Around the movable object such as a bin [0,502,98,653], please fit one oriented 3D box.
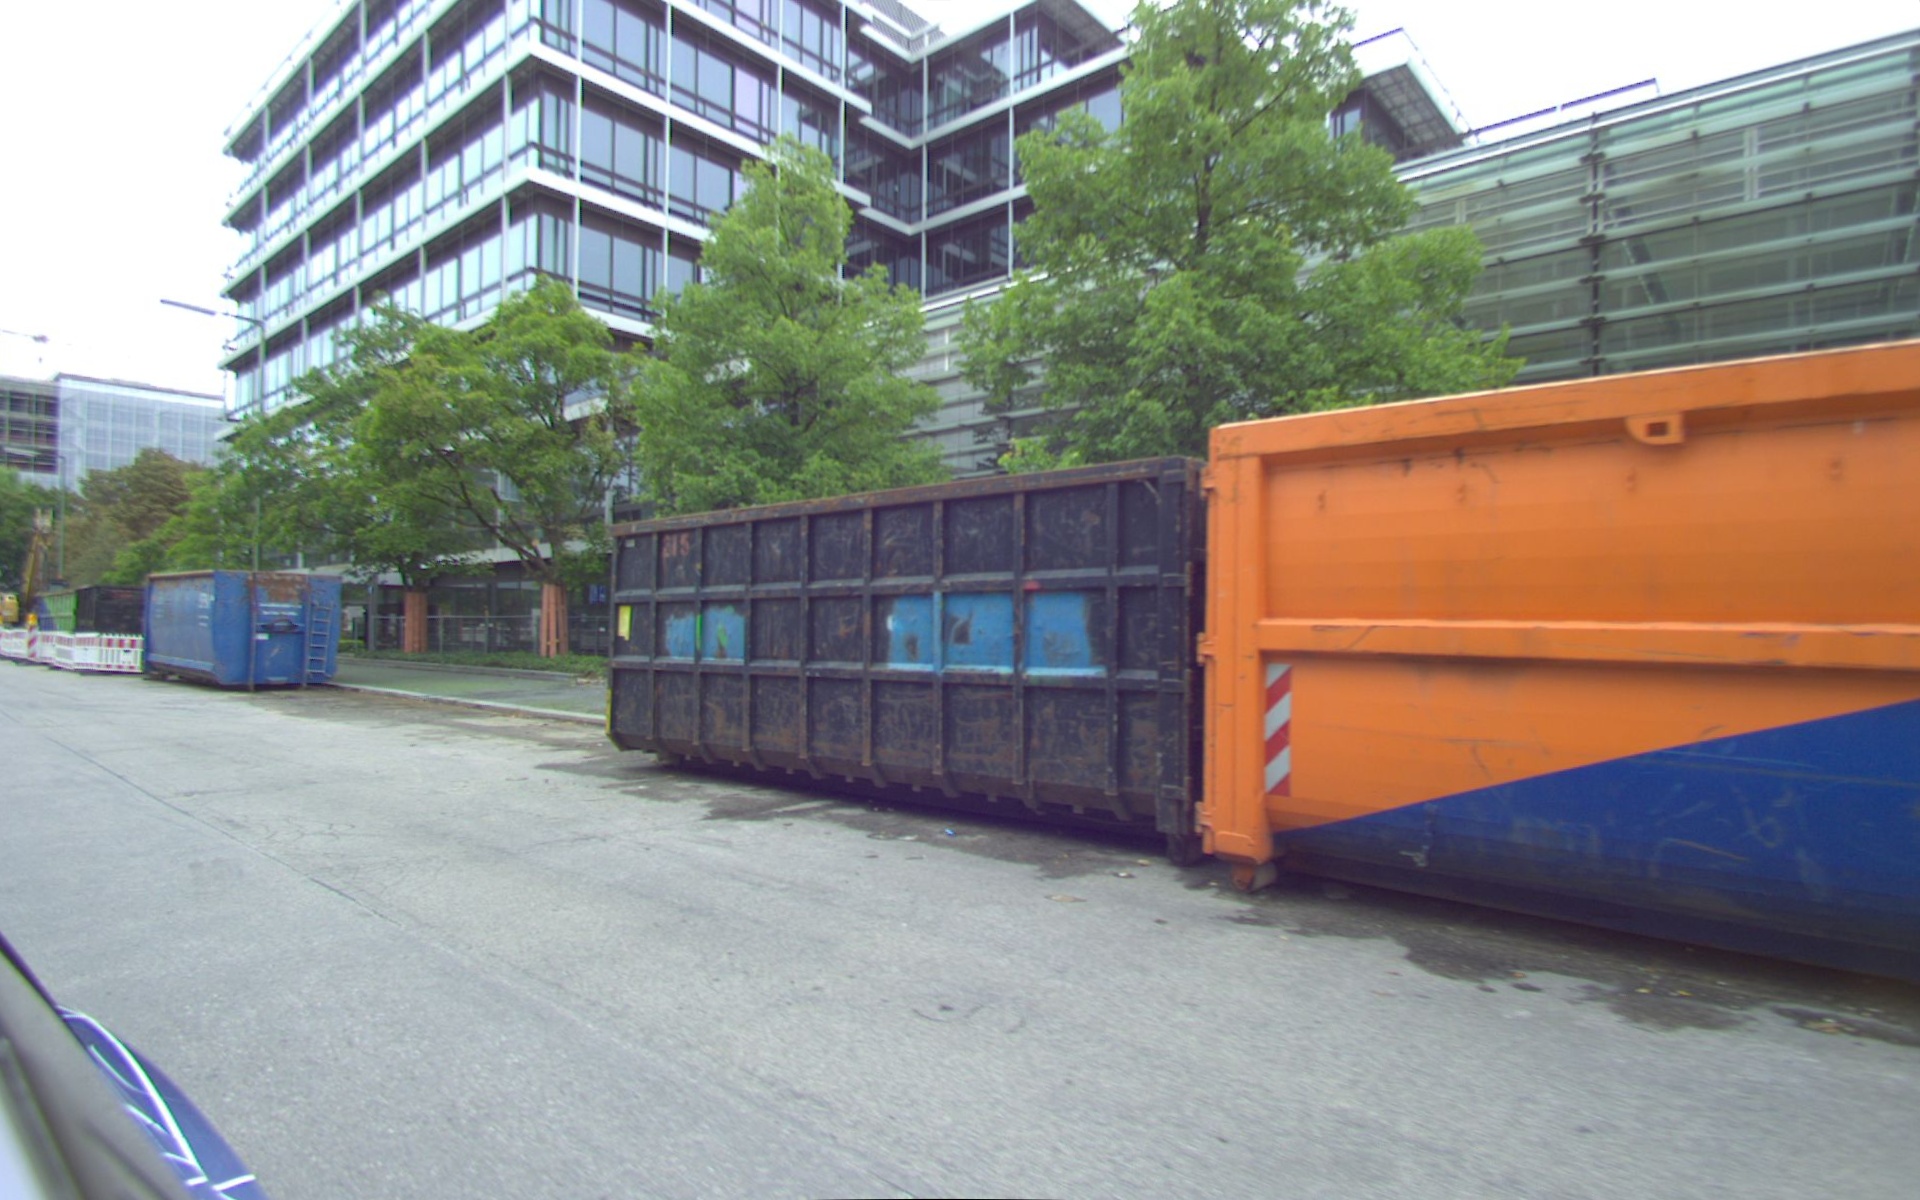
[{"bbox_3d":[-42.444,-0.873,46.632,8.337,6.370,3.198,-1,-2,44],"label":"movable object such as a bin"}]
